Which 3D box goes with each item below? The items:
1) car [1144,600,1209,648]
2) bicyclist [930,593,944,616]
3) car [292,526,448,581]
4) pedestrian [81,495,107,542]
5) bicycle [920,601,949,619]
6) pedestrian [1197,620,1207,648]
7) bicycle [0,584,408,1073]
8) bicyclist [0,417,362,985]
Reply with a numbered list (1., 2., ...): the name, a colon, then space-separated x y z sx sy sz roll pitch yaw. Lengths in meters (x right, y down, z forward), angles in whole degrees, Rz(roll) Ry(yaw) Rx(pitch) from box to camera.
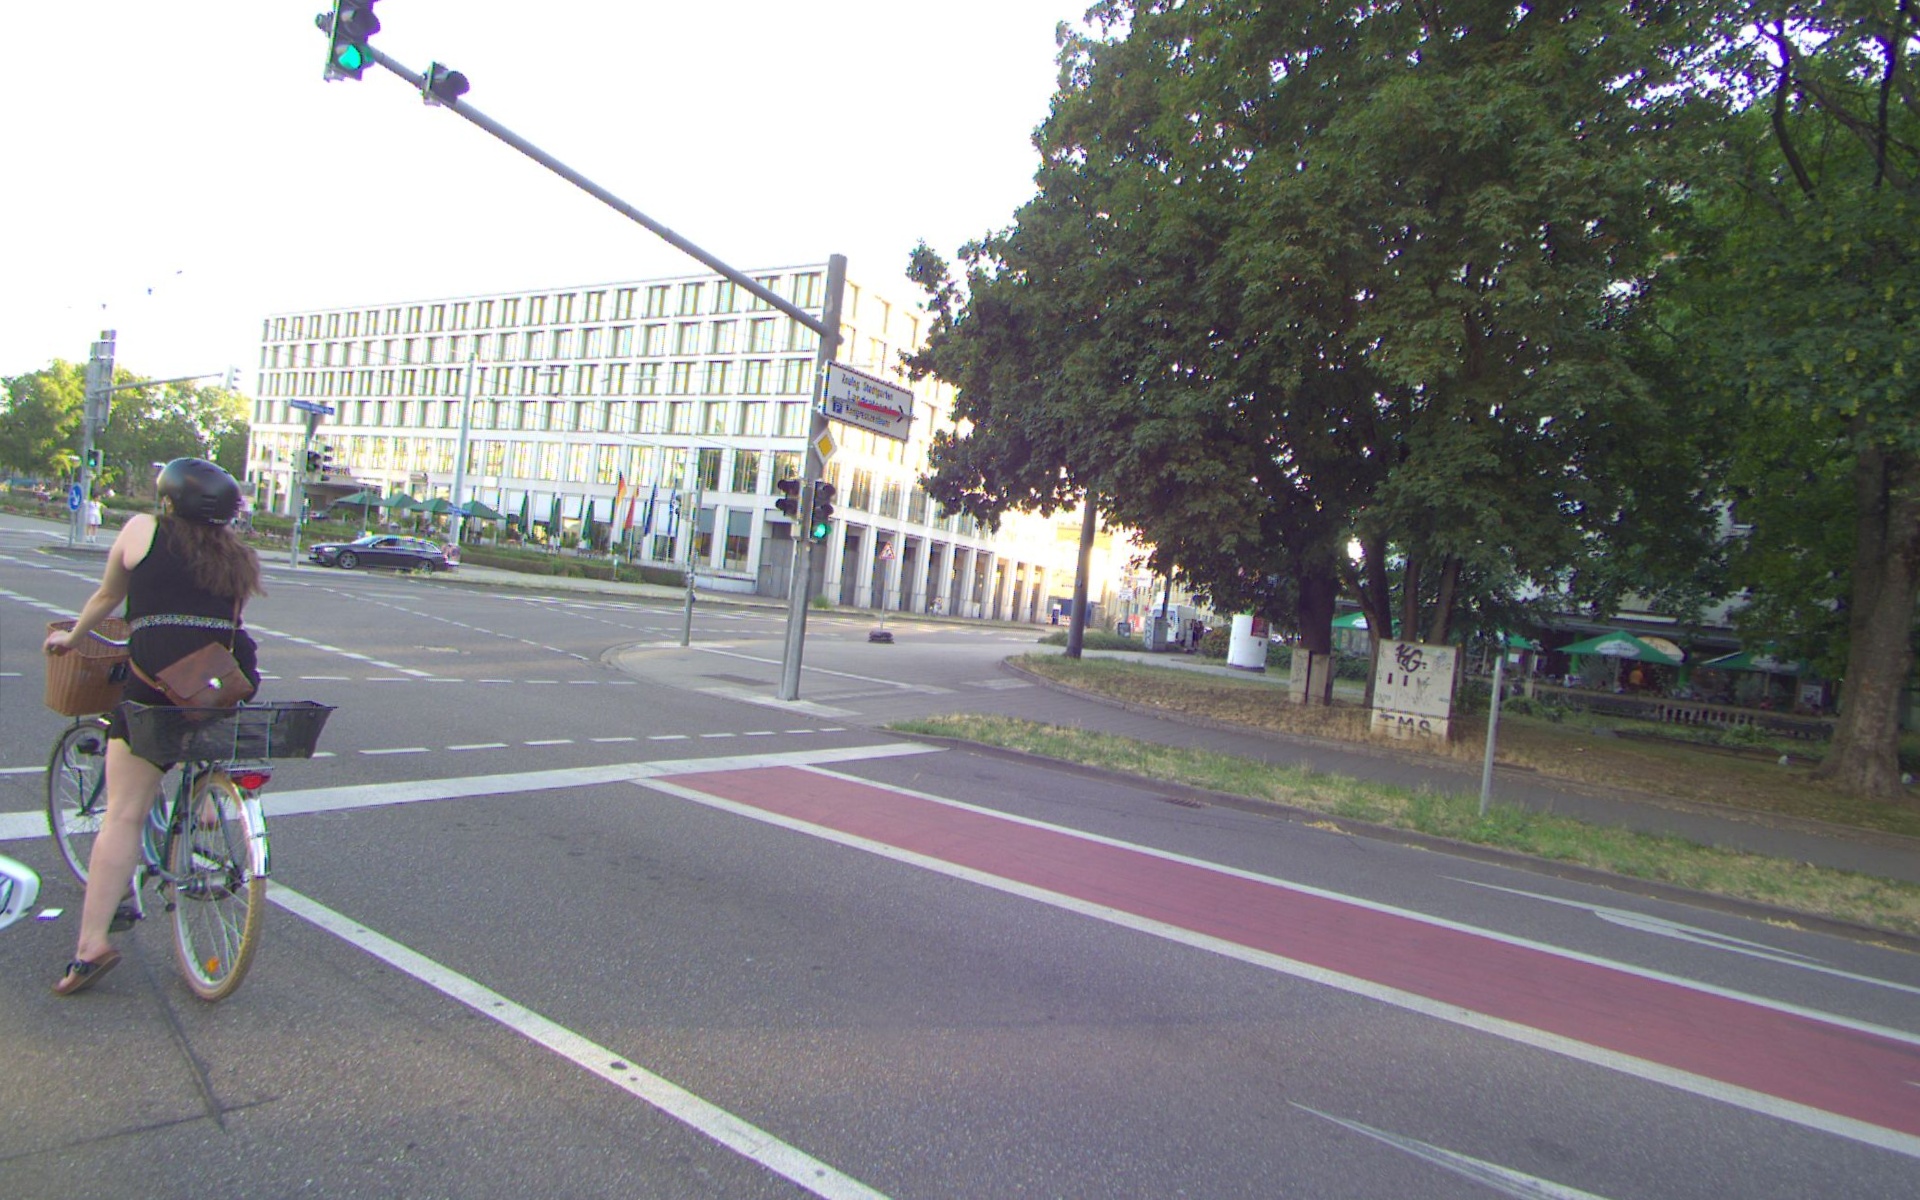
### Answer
1. car: 11.997 1.359 55.602 1.967 2.318 4.605 6 0 31
2. bicyclist: -1.644 0.338 72.031 0.567 1.556 0.708 7 1 29
3. car: -23.021 -1.780 39.439 1.968 1.534 4.826 7 0 34
4. pedestrian: -30.205 -2.831 35.100 0.402 1.559 0.491 7 2 31
5. bicycle: -1.809 0.732 71.824 0.592 1.120 2.775 7 0 29
6. pedestrian: 13.416 1.886 55.755 0.302 1.525 0.336 7 -1 31
7. bicycle: -2.814 0.620 3.461 1.971 1.146 0.612 7 -1 32
8. bicyclist: -2.709 0.273 3.427 0.982 1.655 0.600 7 0 32
